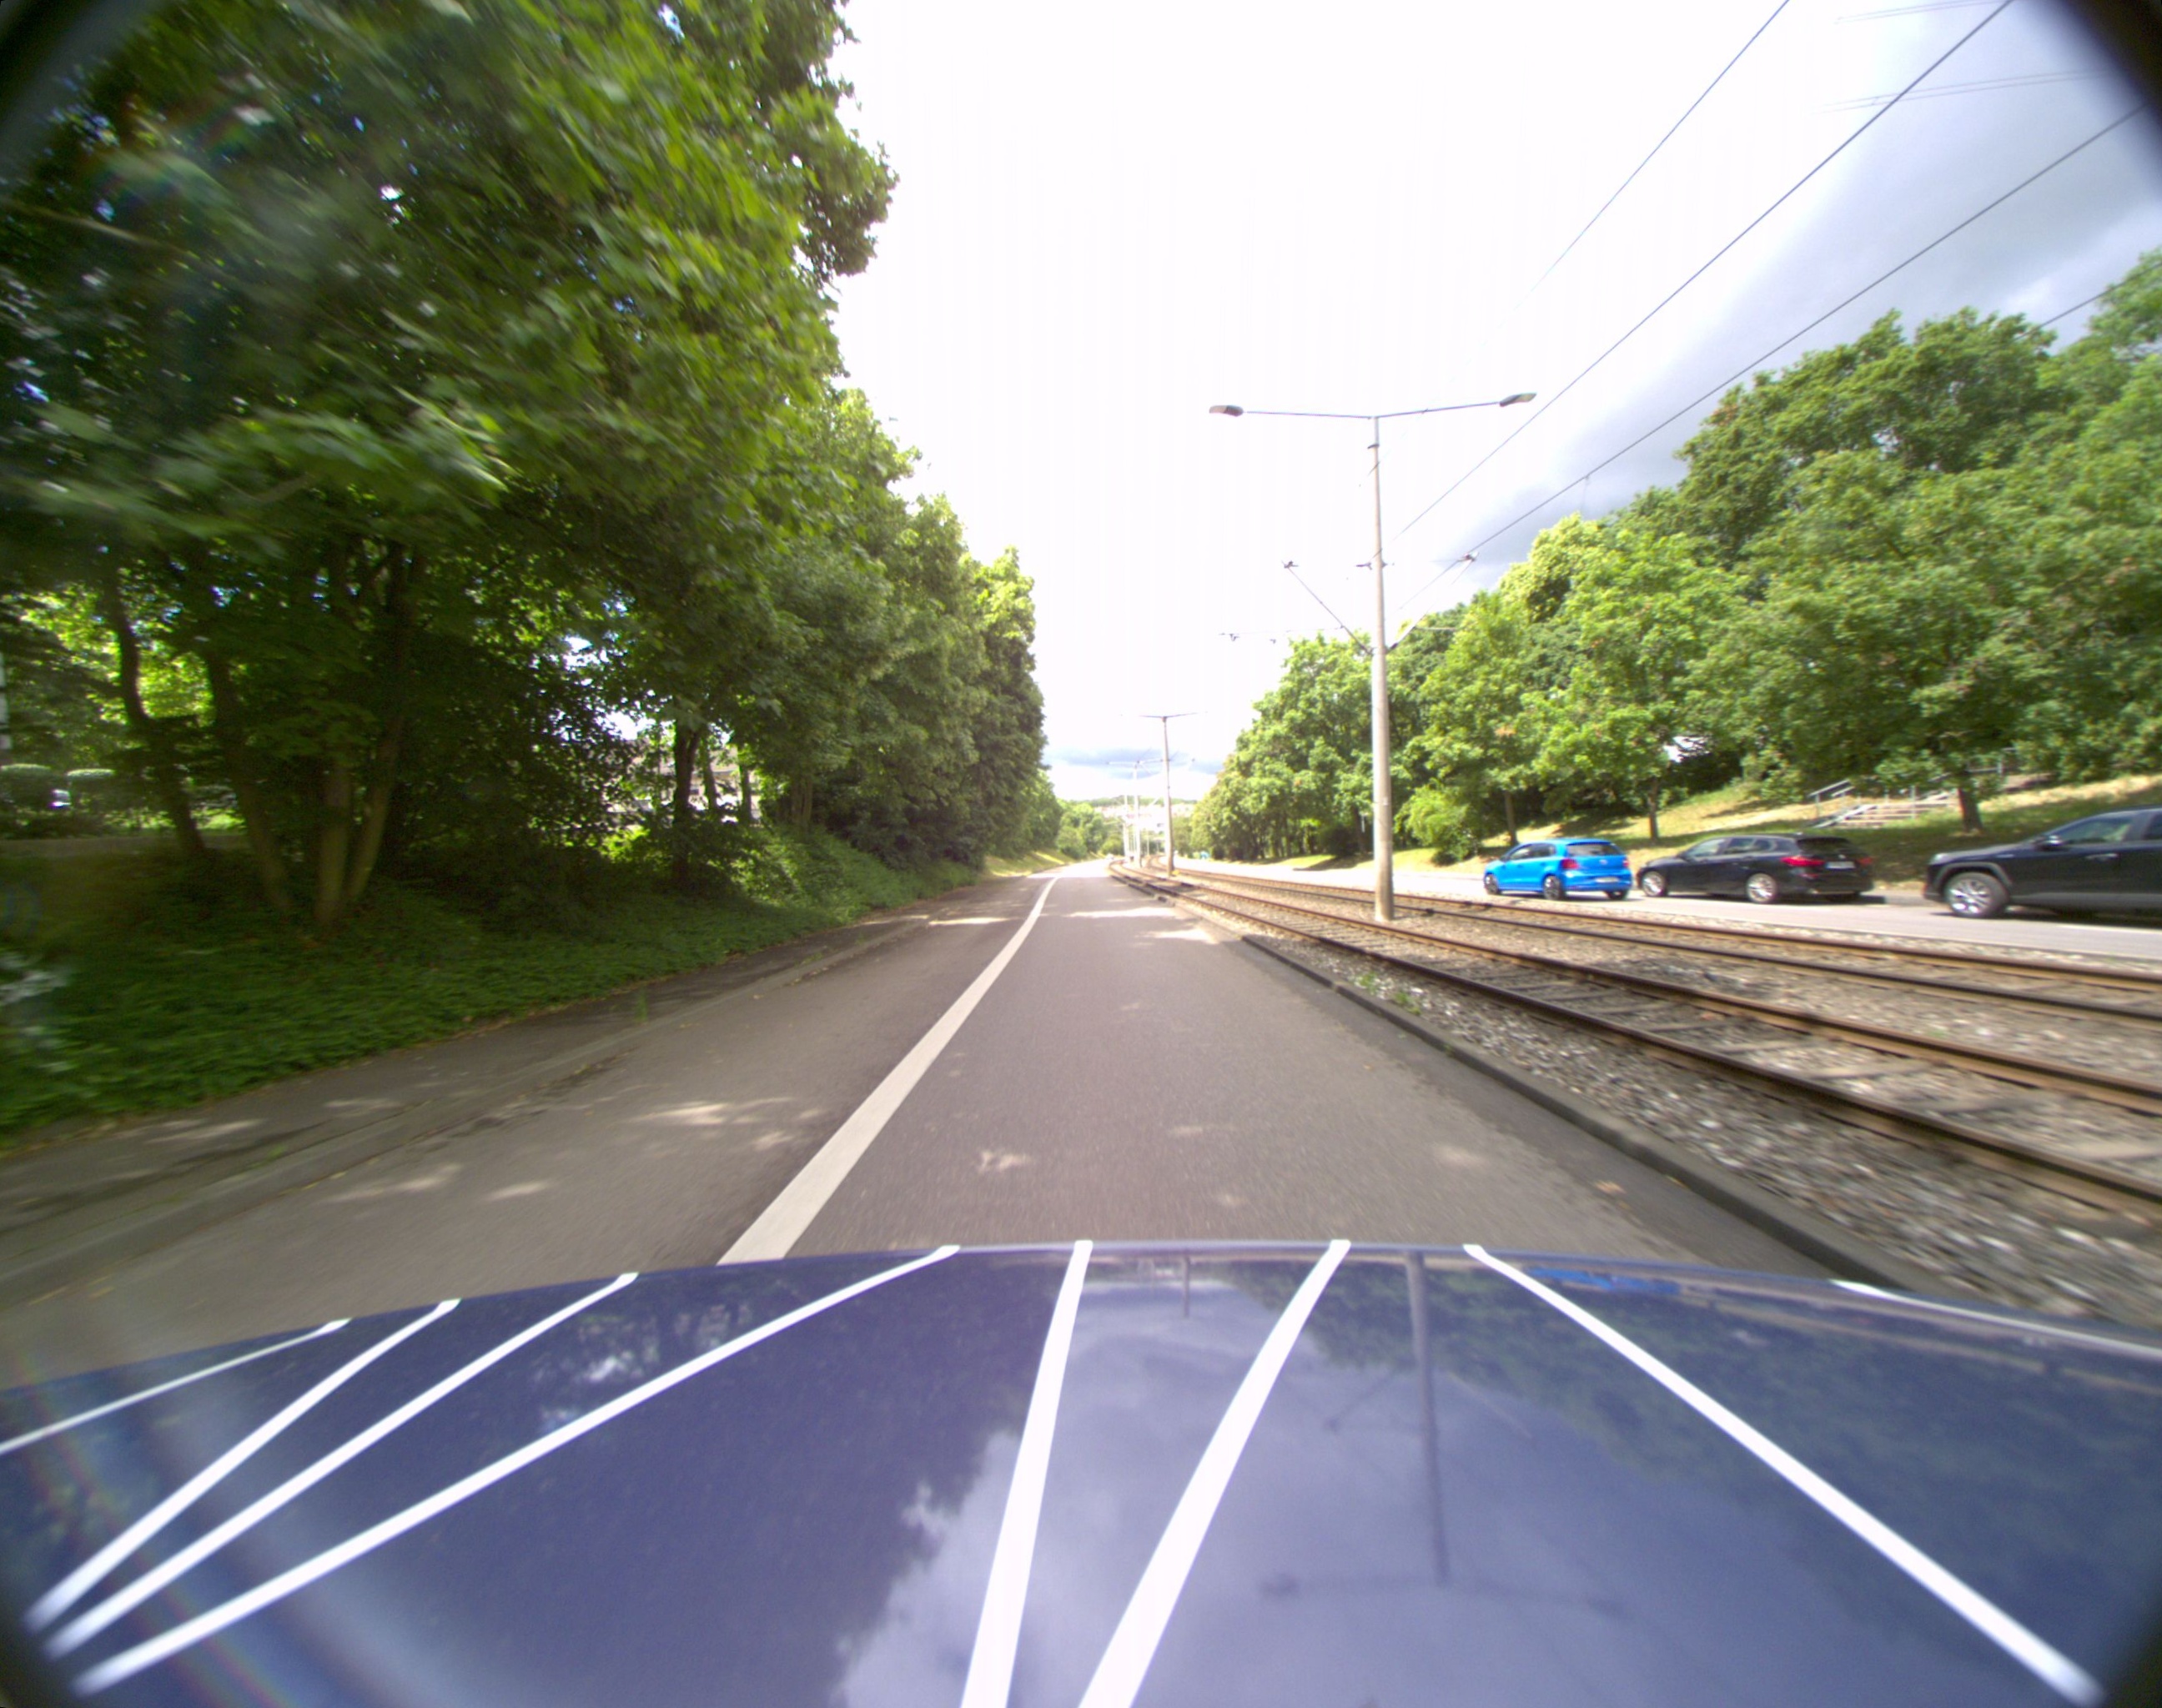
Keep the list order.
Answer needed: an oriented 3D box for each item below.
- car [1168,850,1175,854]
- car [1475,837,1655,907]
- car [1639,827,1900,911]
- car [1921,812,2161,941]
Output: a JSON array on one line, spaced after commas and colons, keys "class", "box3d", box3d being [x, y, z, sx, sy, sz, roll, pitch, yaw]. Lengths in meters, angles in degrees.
[{"class": "car", "box3d": [27.855, -0.677, 233.951, 1.840, 1.383, 4.863, 0, 0, 3]}, {"class": "car", "box3d": [11.475, 0.383, 18.382, 1.720, 1.433, 3.941, -2, 0, -2]}, {"class": "car", "box3d": [14.250, 0.277, 16.097, 1.779, 1.490, 3.996, -2, 0, -2]}, {"class": "car", "box3d": [14.432, 0.256, 10.013, 1.779, 1.620, 4.380, -1, 1, -2]}]
